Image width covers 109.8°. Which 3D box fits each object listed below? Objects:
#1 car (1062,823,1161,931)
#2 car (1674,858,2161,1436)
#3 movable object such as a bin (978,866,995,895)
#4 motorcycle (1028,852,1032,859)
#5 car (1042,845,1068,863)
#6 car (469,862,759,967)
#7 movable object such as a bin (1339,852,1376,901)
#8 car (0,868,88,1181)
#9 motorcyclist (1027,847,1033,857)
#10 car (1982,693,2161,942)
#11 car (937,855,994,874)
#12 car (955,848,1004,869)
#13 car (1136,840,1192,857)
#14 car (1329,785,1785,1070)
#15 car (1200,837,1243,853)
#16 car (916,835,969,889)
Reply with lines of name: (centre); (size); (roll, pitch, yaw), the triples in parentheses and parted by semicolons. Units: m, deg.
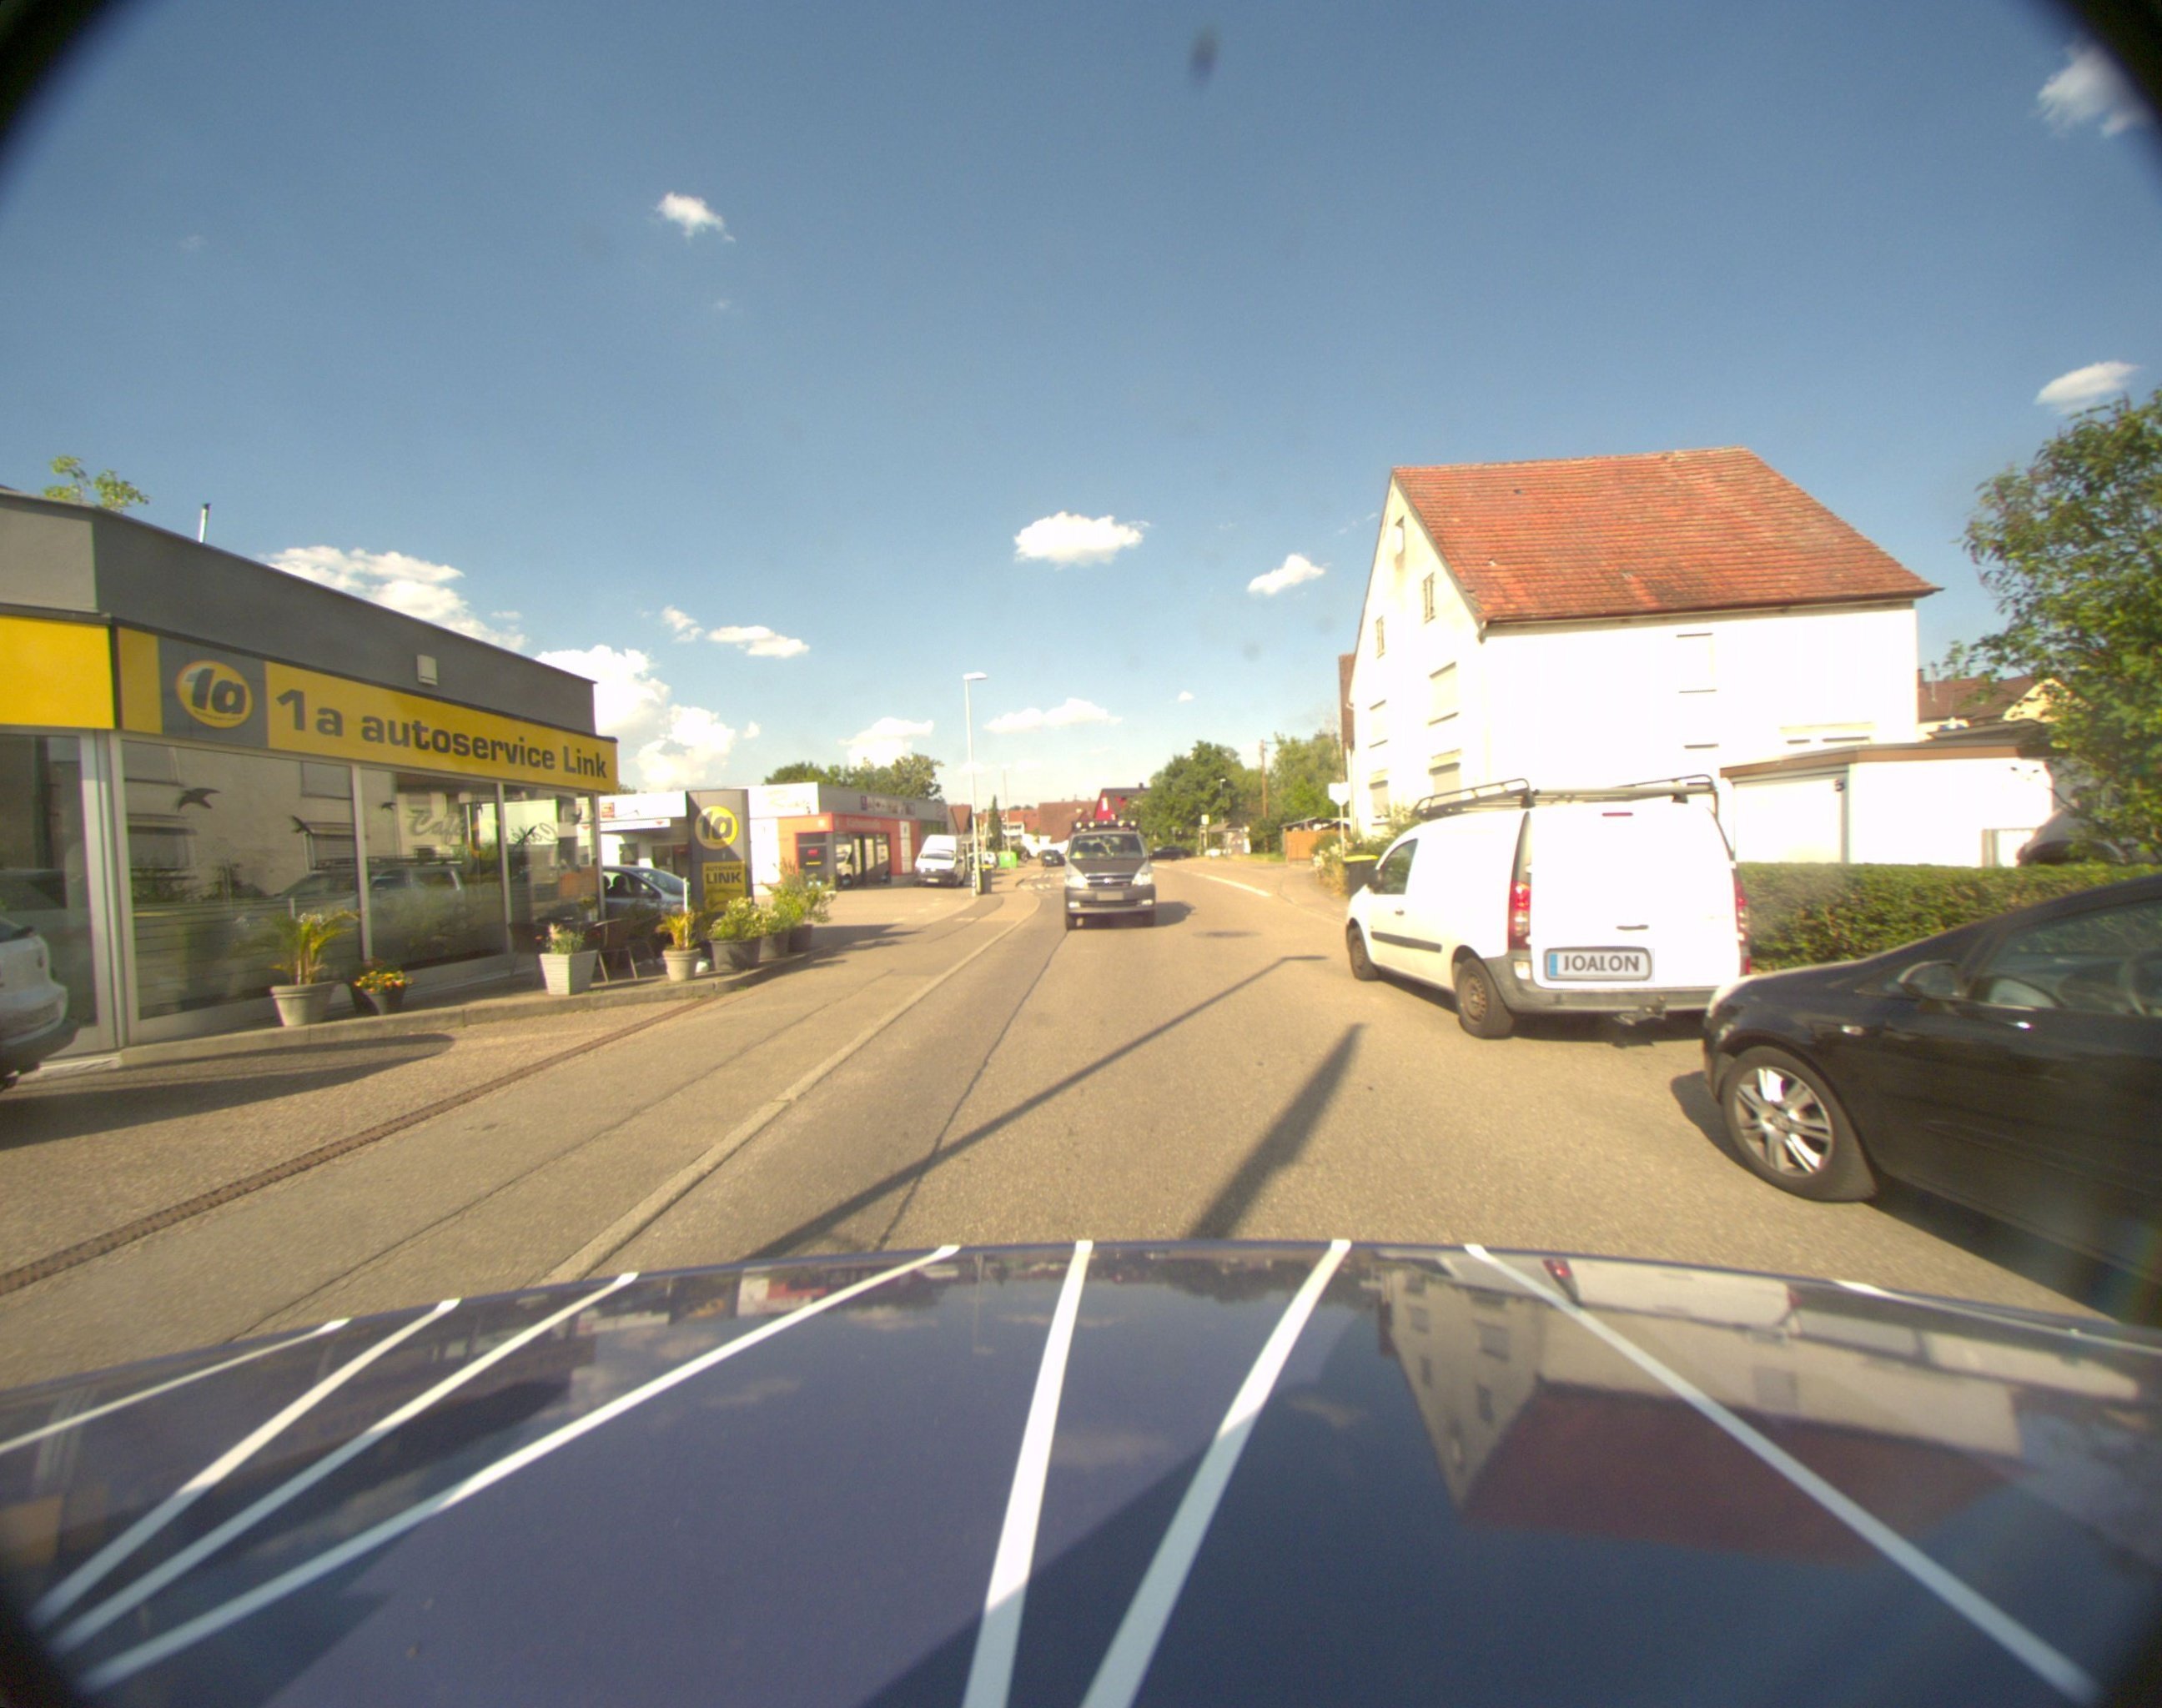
car: (0.670, 0.408, 16.700); (1.819, 1.989, 4.821); (-2, 1, 2)
car: (3.658, 0.791, 1.755); (1.676, 1.443, 3.834); (-2, 1, 2)
movable object such as a bin: (-3.532, 0.990, 28.481); (0.568, 1.069, 0.572); (-2, 1, -4)
motorcycle: (-7.537, 0.187, 112.565); (0.539, 1.007, 2.026); (-5, 1, -4)
car: (-2.541, -0.002, 72.956); (1.974, 1.647, 3.996); (-1, 1, -9)
car: (-7.914, 1.000, 13.104); (3.997, 1.522, 1.527); (-2, 1, 1)
movable object such as a bin: (6.538, 0.516, 17.968); (0.612, 1.095, 0.575); (-4, 2, 1)
car: (-7.803, 0.960, 3.221); (4.086, 1.665, 1.672); (-1, 1, -42)
motorcyclist: (-7.591, -0.303, 112.552); (0.738, 1.518, 1.016); (-6, 2, -3)
car: (12.111, -0.417, 6.365); (2.163, 2.581, 6.096); (-3, 0, 5)
car: (-9.013, 0.807, 59.365); (4.074, 1.409, 1.625); (-1, 2, 3)
car: (-8.747, 0.406, 65.656); (3.949, 1.594, 1.682); (-2, 2, 1)
car: (7.708, -0.524, 70.546); (4.849, 1.423, 1.768); (-3, 2, -21)
car: (3.854, 0.476, 7.151); (1.720, 1.862, 4.192); (-1, 1, 1)
car: (14.270, -0.902, 76.832); (4.282, 1.483, 1.857); (-3, 2, -37)
car: (-6.577, 0.317, 36.571); (1.841, 2.361, 5.176); (1, 1, -3)
